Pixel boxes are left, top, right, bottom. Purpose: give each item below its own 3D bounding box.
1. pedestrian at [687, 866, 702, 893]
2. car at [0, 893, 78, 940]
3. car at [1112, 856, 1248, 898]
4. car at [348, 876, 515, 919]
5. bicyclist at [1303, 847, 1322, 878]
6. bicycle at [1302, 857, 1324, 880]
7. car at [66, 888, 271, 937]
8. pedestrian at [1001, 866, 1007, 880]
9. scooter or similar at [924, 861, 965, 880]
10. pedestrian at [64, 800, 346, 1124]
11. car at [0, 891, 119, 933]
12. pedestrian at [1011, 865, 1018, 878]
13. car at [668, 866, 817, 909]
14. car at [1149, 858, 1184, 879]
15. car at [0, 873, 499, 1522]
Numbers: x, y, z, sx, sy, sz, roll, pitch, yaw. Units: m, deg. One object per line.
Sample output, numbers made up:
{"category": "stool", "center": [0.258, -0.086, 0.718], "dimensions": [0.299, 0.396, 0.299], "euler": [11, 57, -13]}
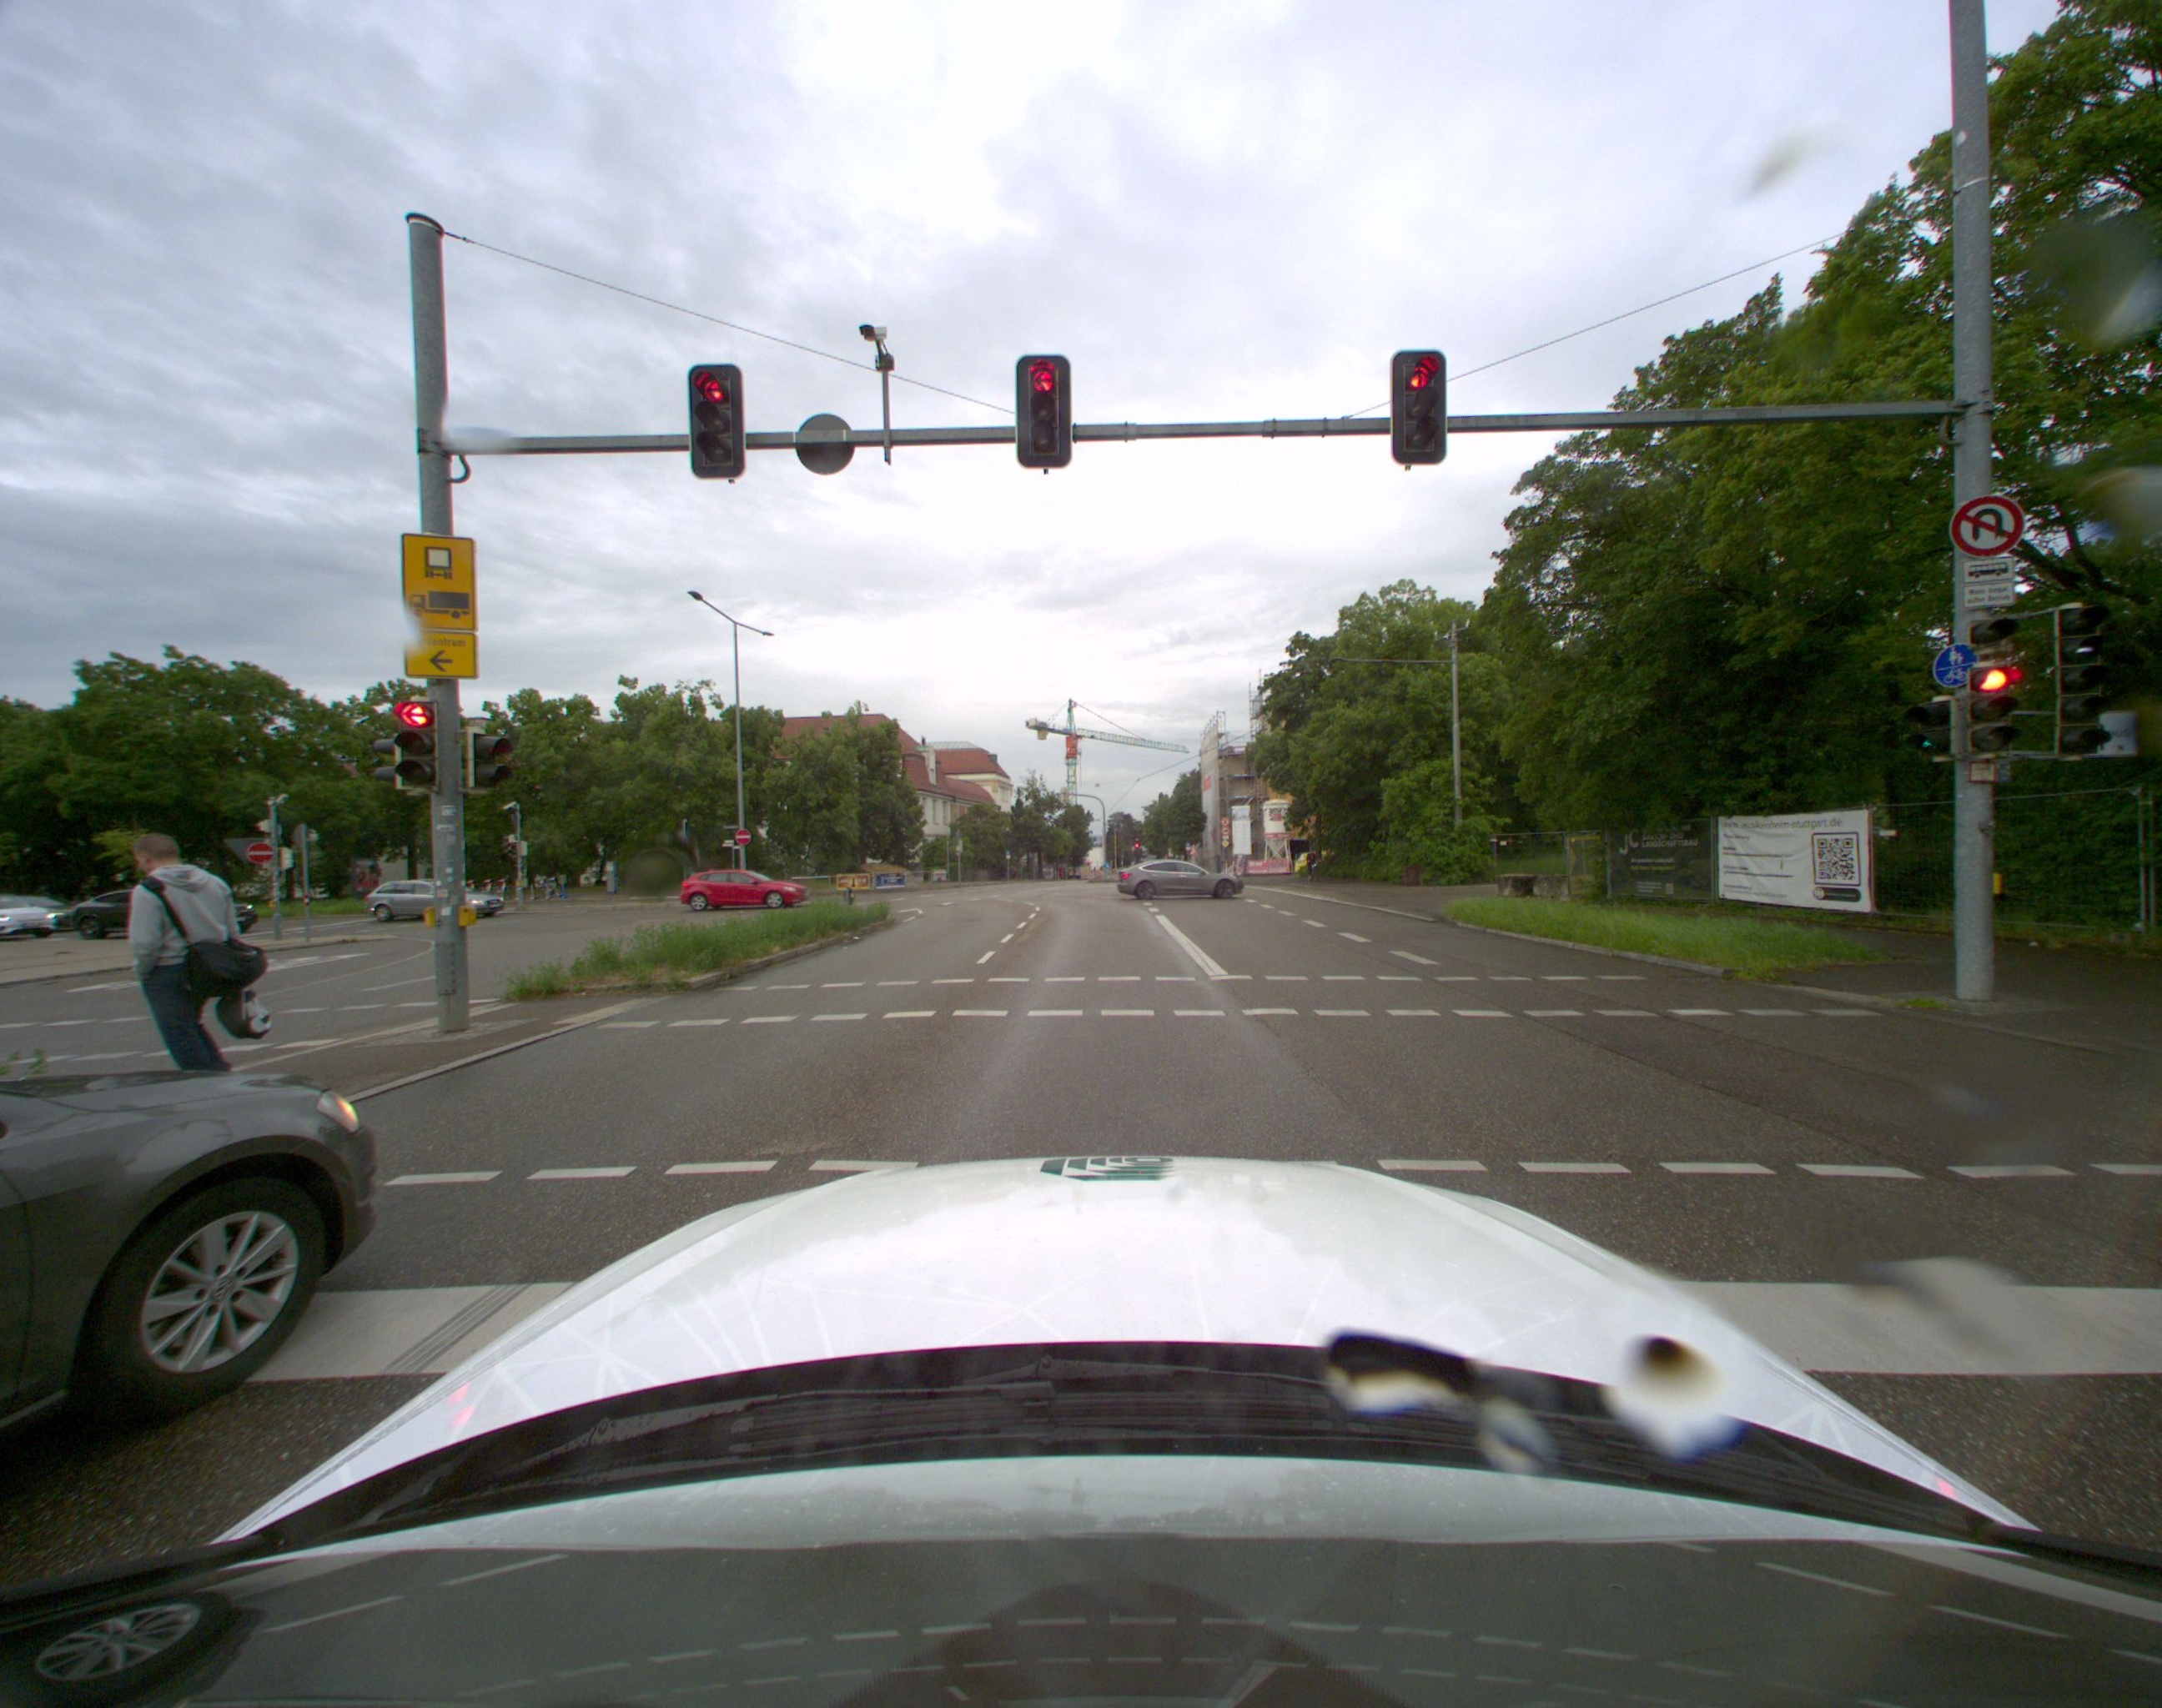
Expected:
{"category": "pedestrian", "center": [-21.688, 1.402, 45.726], "dimensions": [0.619, 1.490, 0.768], "euler": [-1, 0, -15]}
{"category": "car", "center": [-36.624, 2.085, 27.251], "dimensions": [3.761, 1.425, 1.845], "euler": [-1, 0, -1]}
{"category": "car", "center": [3.573, 0.815, 29.992], "dimensions": [4.757, 1.425, 1.999], "euler": [-1, 0, -2]}
{"category": "car", "center": [-23.897, 1.583, 30.110], "dimensions": [4.512, 1.425, 1.999], "euler": [-1, 0, -1]}
{"category": "bicyclist", "center": [11.941, 0.428, 42.042], "dimensions": [0.717, 1.564, 1.143], "euler": [0, -2, 3]}
{"category": "bicycle", "center": [11.952, 0.766, 42.066], "dimensions": [0.717, 1.193, 1.757], "euler": [0, -2, 3]}
{"category": "car", "center": [-29.982, 1.892, 26.881], "dimensions": [4.432, 1.425, 1.999], "euler": [-1, 0, -1]}
{"category": "pedestrian", "center": [-7.957, 1.921, 84.155], "dimensions": [0.584, 1.430, 0.467], "euler": [0, -2, 2]}
{"category": "scooter or similar", "center": [-11.015, 1.326, 65.742], "dimensions": [3.078, 1.440, 0.948], "euler": [-2, 0, -1]}
{"category": "pedestrian", "center": [-5.988, 0.695, 5.624], "dimensions": [0.935, 2.013, 0.848], "euler": [-4, -1, 6]}
{"category": "car", "center": [-39.419, 2.197, 30.866], "dimensions": [3.759, 1.425, 1.846], "euler": [-1, 0, 1]}
{"category": "pedestrian", "center": [-6.948, 1.856, 85.044], "dimensions": [0.635, 1.386, 0.606], "euler": [0, -2, 0]}
{"category": "car", "center": [-12.124, 1.188, 29.410], "dimensions": [4.514, 1.425, 1.999], "euler": [-1, 0, -2]}
{"category": "car", "center": [5.945, 0.995, 57.188], "dimensions": [1.987, 1.425, 4.520], "euler": [-1, 0, 1]}
{"category": "car", "center": [-3.395, 0.838, 1.239], "dimensions": [1.798, 1.429, 4.199], "euler": [-3, 0, 2]}
